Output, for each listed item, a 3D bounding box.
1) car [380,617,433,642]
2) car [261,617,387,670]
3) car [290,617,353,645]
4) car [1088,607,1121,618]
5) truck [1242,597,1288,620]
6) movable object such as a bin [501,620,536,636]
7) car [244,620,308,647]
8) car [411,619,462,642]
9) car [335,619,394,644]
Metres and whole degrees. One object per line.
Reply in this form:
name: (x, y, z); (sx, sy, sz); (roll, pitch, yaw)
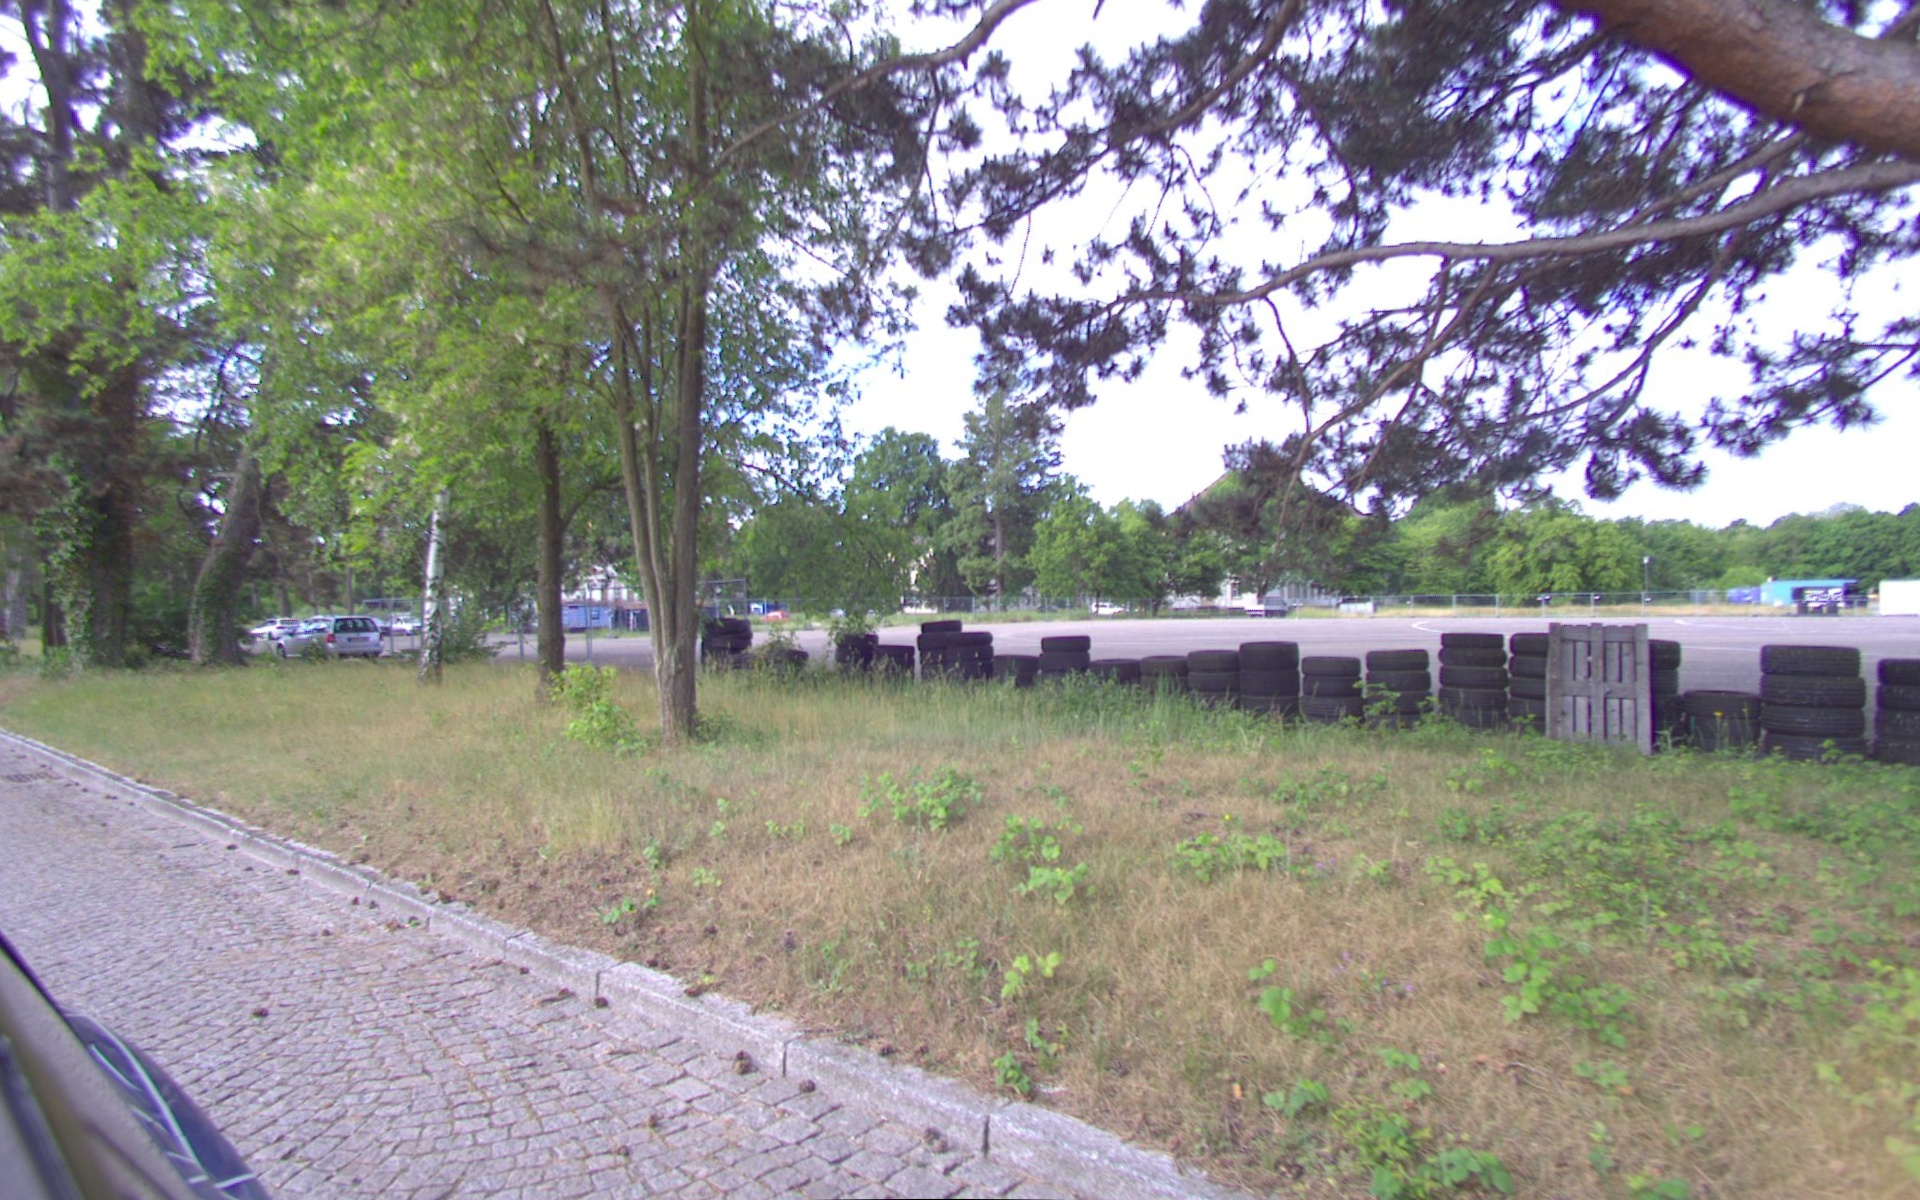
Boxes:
car: (-37.551, 2.017, 68.601); (4.109, 1.533, 1.715); (-4, -2, 39)
car: (-19.139, 1.281, 30.381); (4.459, 1.449, 1.700); (-2, -1, 37)
car: (-40.467, 1.956, 64.103); (4.576, 1.590, 1.818); (-4, -2, 36)
car: (22.000, 1.929, 154.337); (4.576, 1.645, 1.818); (-2, -1, 36)
truck: (31.647, 0.866, 104.956); (2.371, 2.215, 6.471); (-2, -1, 38)
movable object such as a bin: (-26.708, 1.719, 61.224); (1.929, 0.940, 1.030); (-2, -2, 32)
car: (-41.913, 2.065, 61.955); (4.646, 1.461, 1.818); (-4, -2, 36)
car: (-41.677, 2.444, 80.539); (4.576, 1.571, 1.818); (-4, -2, 36)
car: (-39.015, 2.057, 66.294); (4.579, 1.480, 1.817); (-4, -2, 39)
